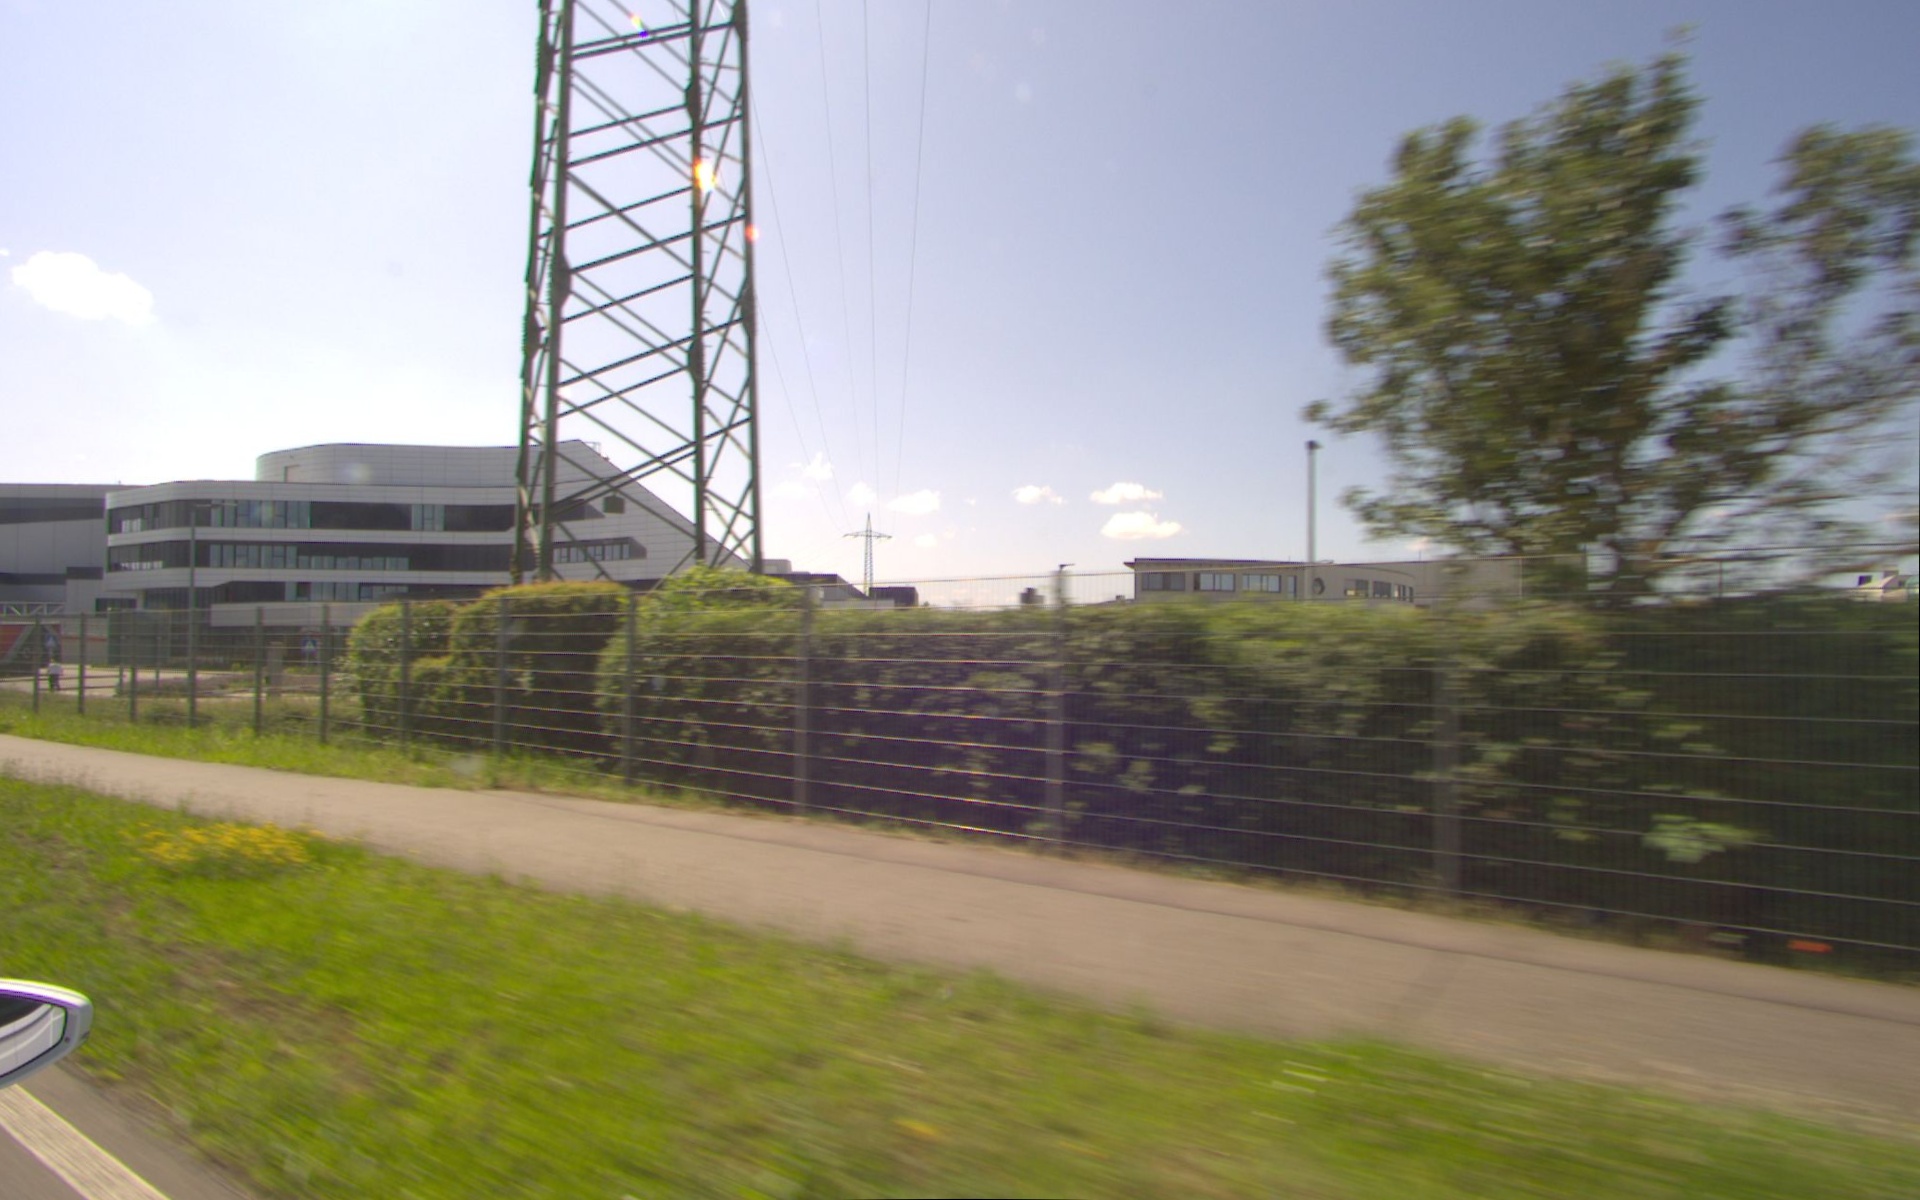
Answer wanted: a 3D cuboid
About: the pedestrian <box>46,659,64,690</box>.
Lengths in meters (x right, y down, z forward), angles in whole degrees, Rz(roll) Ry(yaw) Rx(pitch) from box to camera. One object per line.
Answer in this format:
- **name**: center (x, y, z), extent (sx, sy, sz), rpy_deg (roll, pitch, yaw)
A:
- **pedestrian**: center (-48.546, 3.989, 53.696), extent (0.565, 1.673, 0.483), rpy_deg (0, -2, 26)
